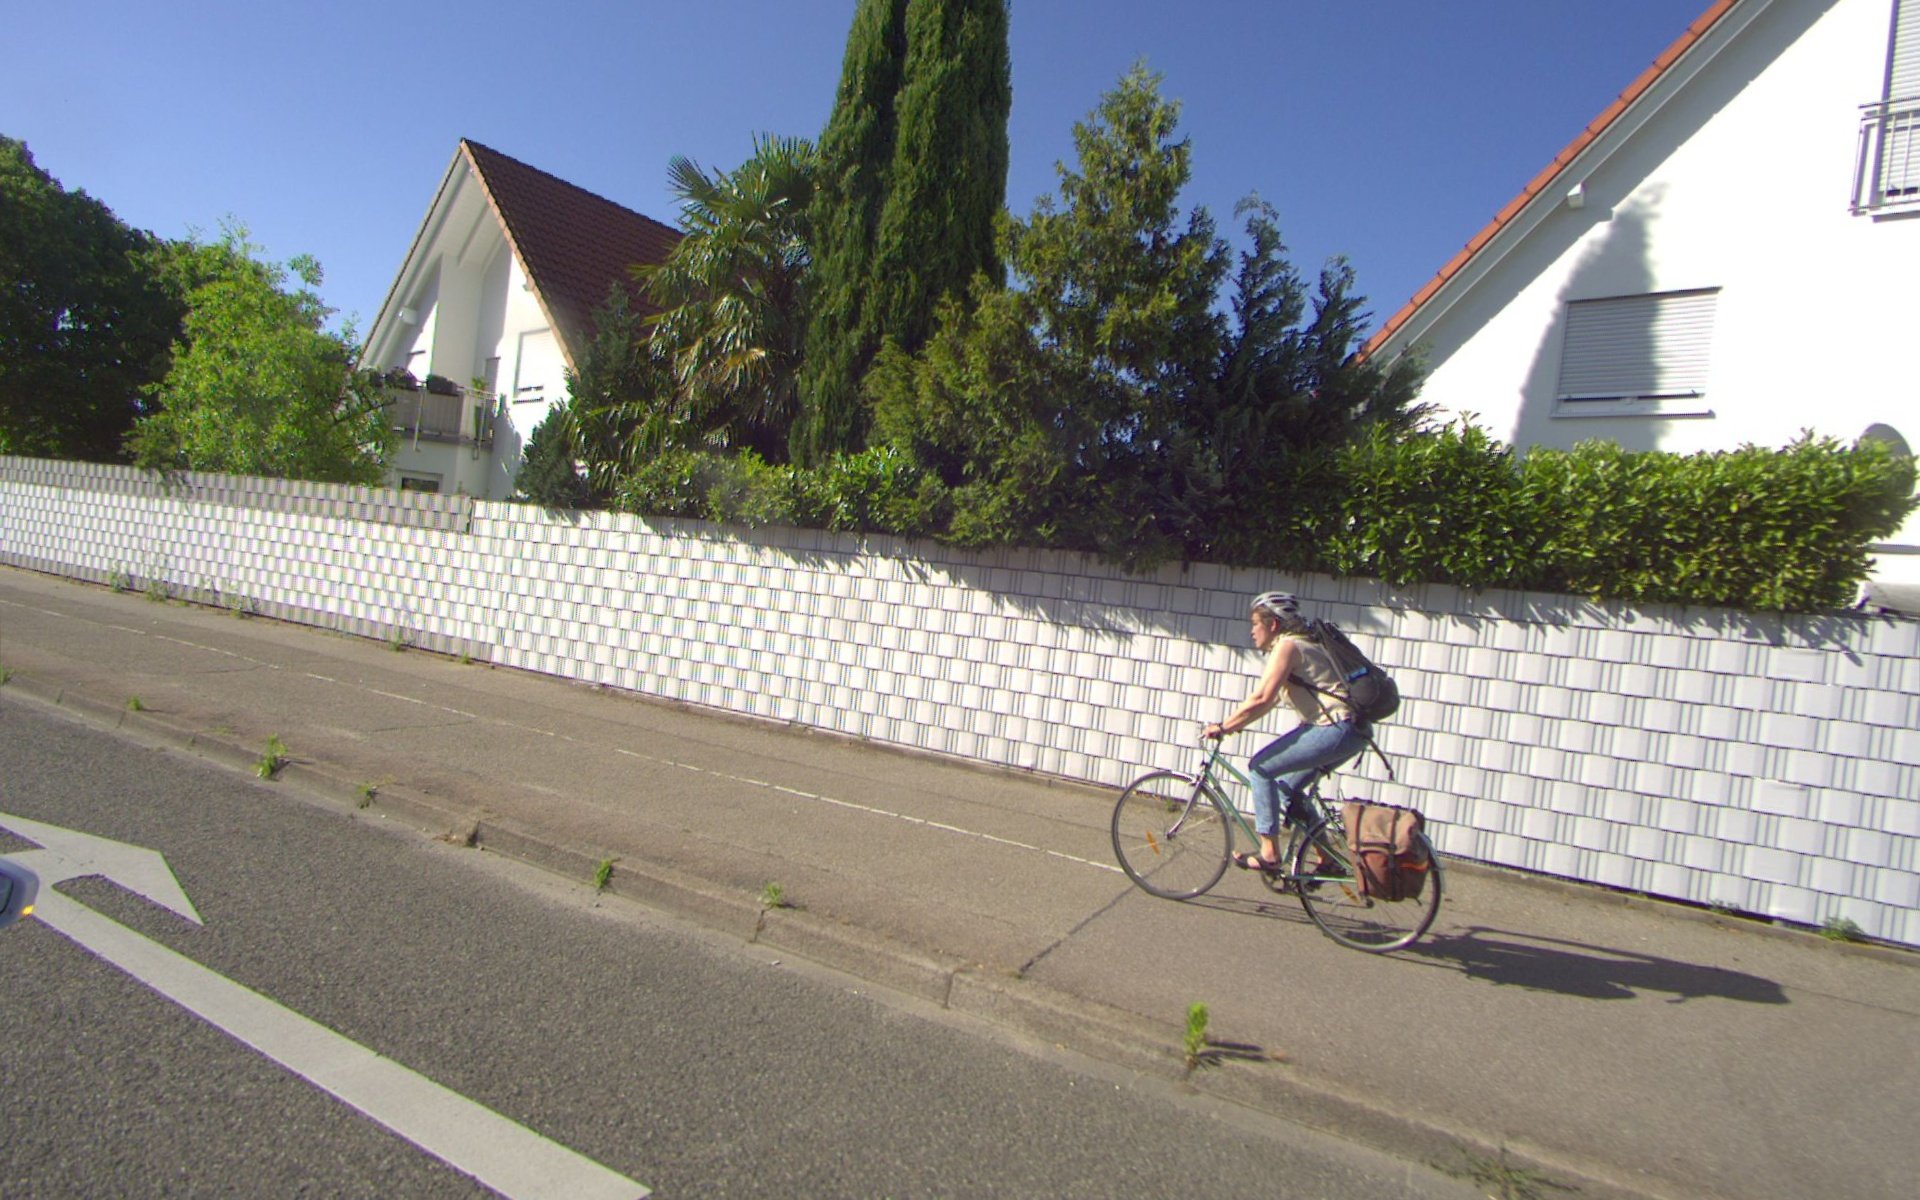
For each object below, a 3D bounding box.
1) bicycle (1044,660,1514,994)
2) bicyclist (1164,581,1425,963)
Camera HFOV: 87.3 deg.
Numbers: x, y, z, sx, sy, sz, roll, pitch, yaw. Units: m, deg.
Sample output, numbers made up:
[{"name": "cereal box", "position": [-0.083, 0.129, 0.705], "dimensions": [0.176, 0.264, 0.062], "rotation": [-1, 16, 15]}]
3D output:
[{"name": "bicycle", "position": [1.553, 1.032, 5.136], "dimensions": [2.105, 1.170, 0.574], "rotation": [7, 3, 31]}, {"name": "bicyclist", "position": [1.678, 0.789, 5.052], "dimensions": [0.965, 1.655, 0.630], "rotation": [7, 3, 31]}]
